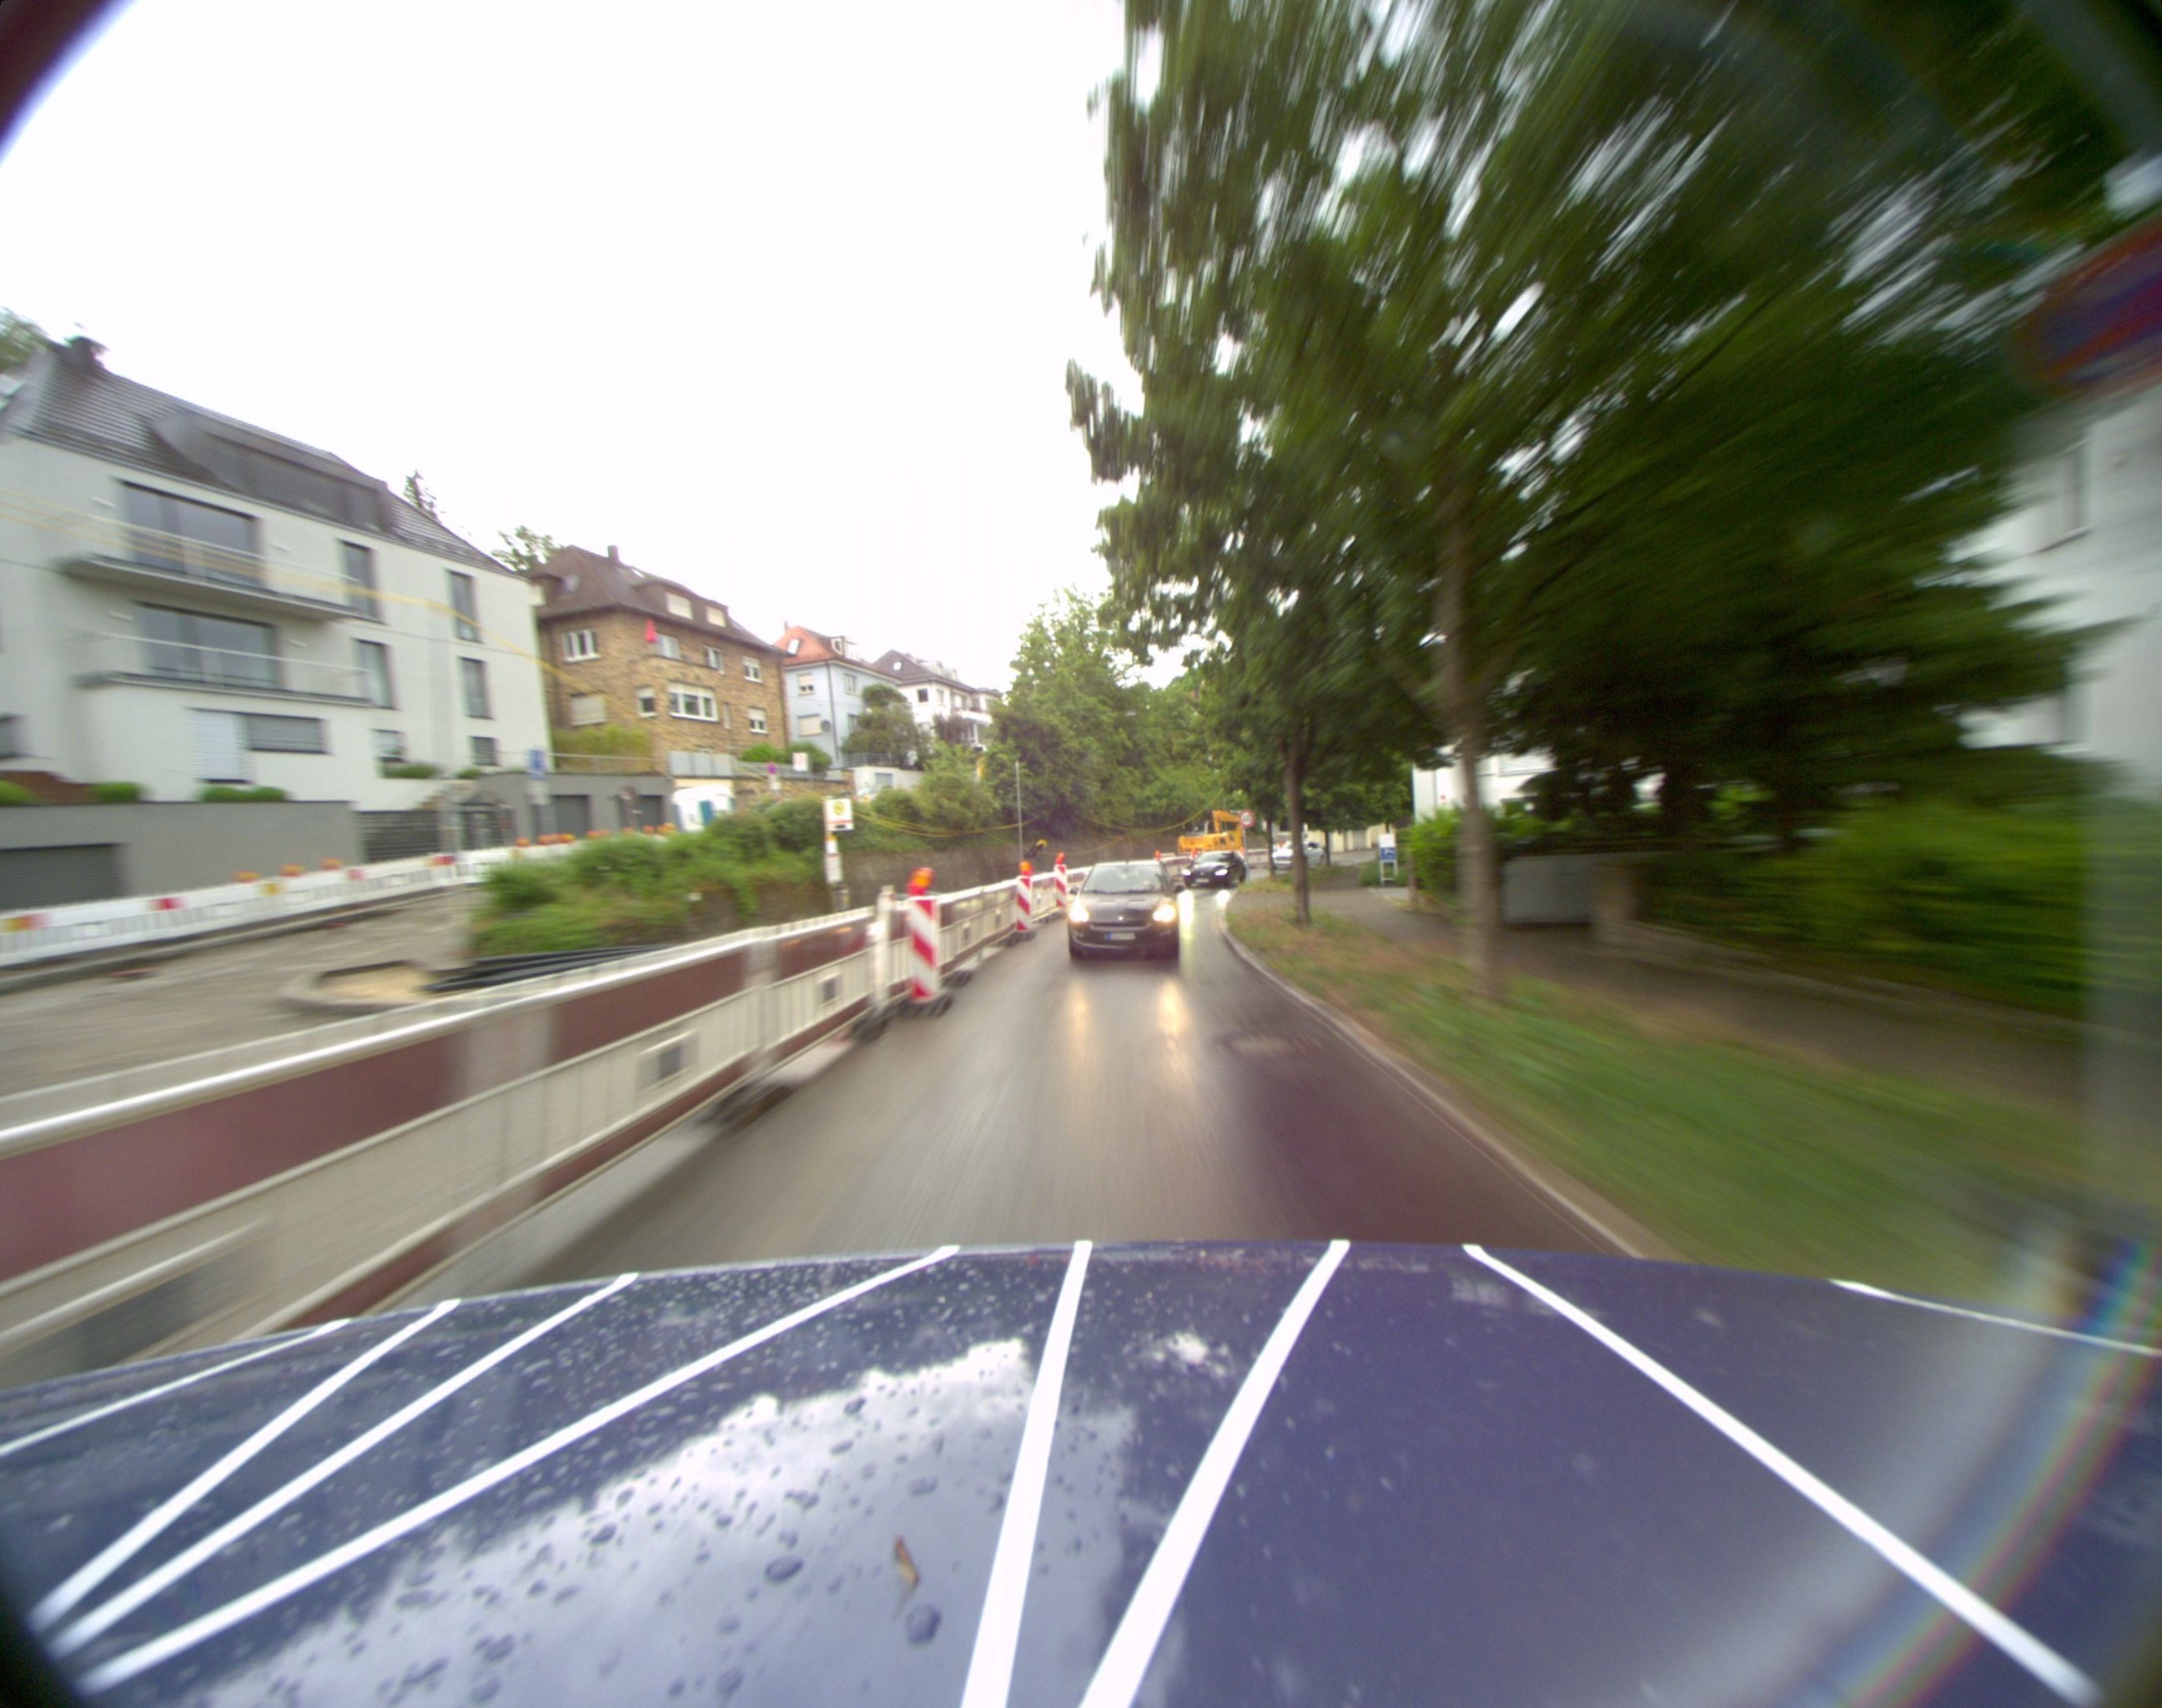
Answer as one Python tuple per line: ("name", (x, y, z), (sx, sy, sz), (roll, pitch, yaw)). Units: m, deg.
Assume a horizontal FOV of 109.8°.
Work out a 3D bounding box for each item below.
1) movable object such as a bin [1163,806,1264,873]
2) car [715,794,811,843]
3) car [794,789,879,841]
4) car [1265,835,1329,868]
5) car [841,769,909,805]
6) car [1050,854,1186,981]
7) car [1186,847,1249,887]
("movable object such as a bin", (8.521, -0.974, 48.088), (3.323, 3.818, 7.216), (-2, 2, 36))
("car", (-14.080, -1.613, 33.891), (1.857, 1.629, 3.831), (-2, 9, 15))
("car", (-12.462, -2.060, 39.094), (1.898, 2.069, 4.426), (-2, 9, 15))
("car", (12.822, -0.191, 44.976), (1.996, 1.699, 4.582), (-2, 2, 38))
("car", (-11.576, -3.824, 43.061), (1.857, 1.629, 3.961), (-2, 9, 15))
("car", (0.773, 0.825, 12.056), (1.673, 1.458, 4.717), (-3, 1, 8))
("car", (5.713, 0.512, 31.458), (1.840, 1.395, 4.076), (-2, 1, 20))
